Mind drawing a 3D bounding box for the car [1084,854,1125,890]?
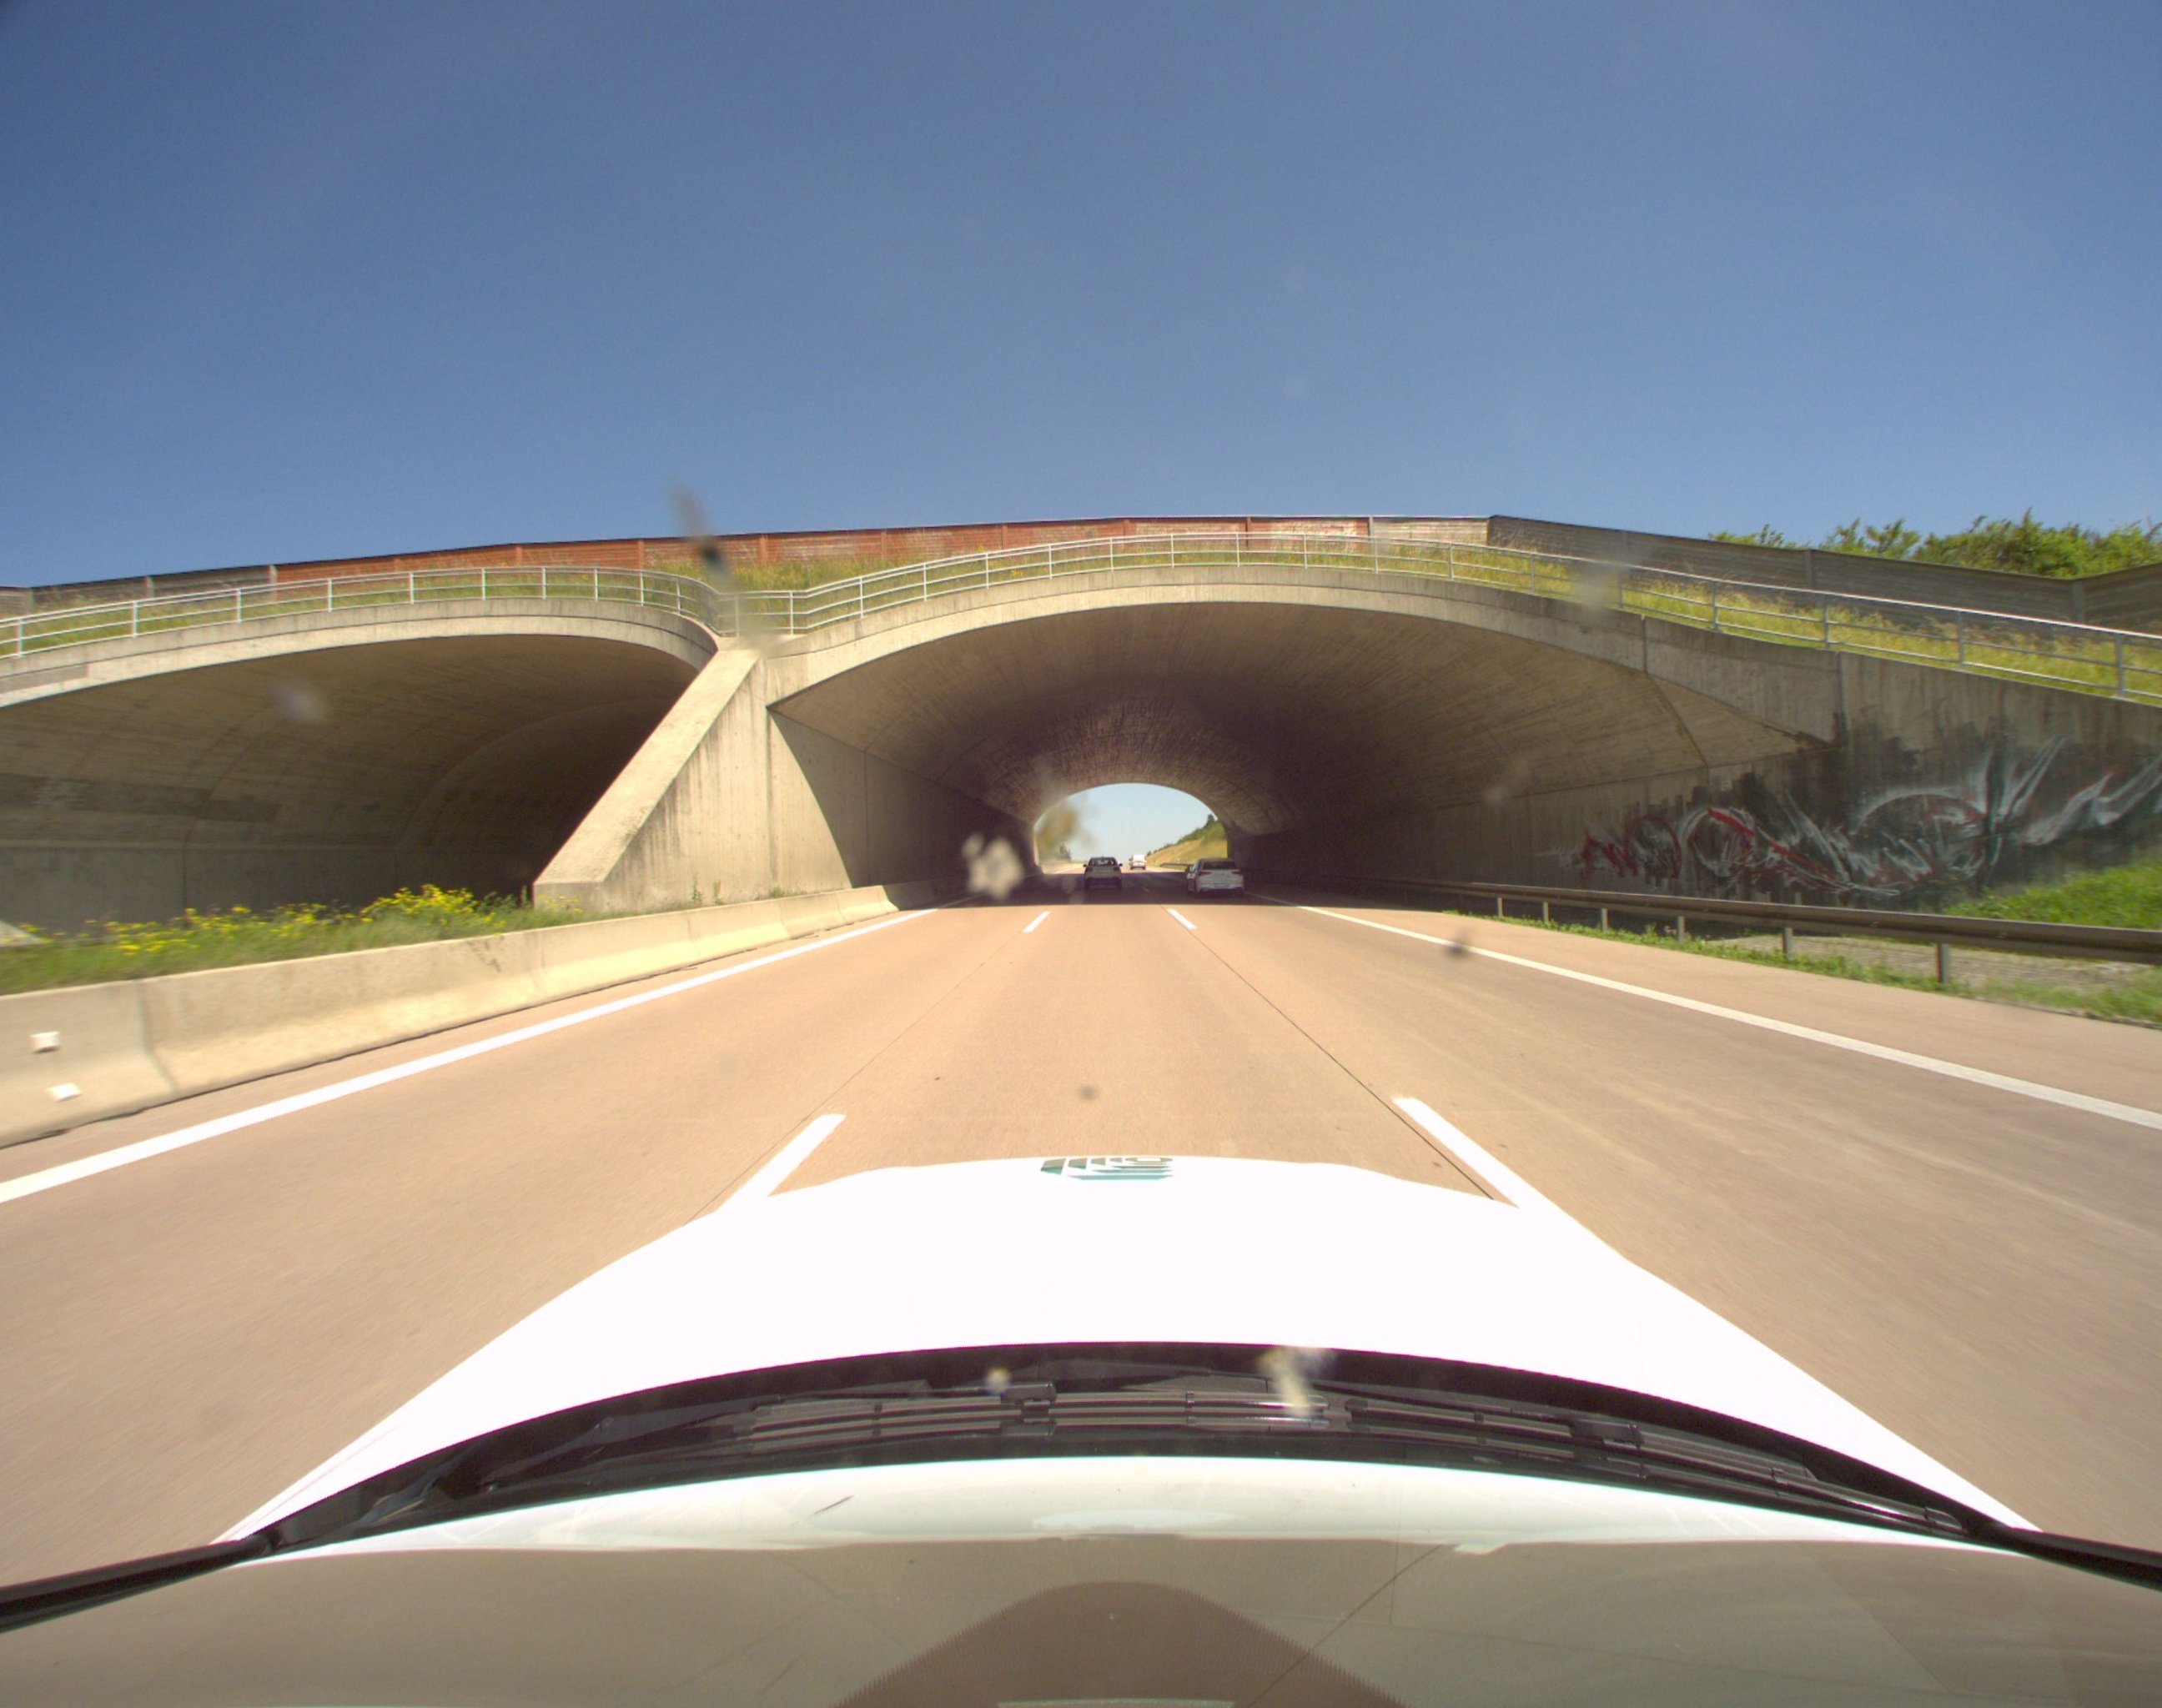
[{"bbox_3d":[1.153,0.835,39.727,1.872,1.607,4.835,-1,0,1],"label":"car"}]

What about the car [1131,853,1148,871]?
[{"bbox_3d":[7.444,1.006,103.531,2.101,2.053,4.004,-1,1,3],"label":"car"}]

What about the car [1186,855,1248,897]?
[{"bbox_3d":[4.983,0.766,30.279,1.882,1.398,4.004,0,1,4],"label":"car"}]
